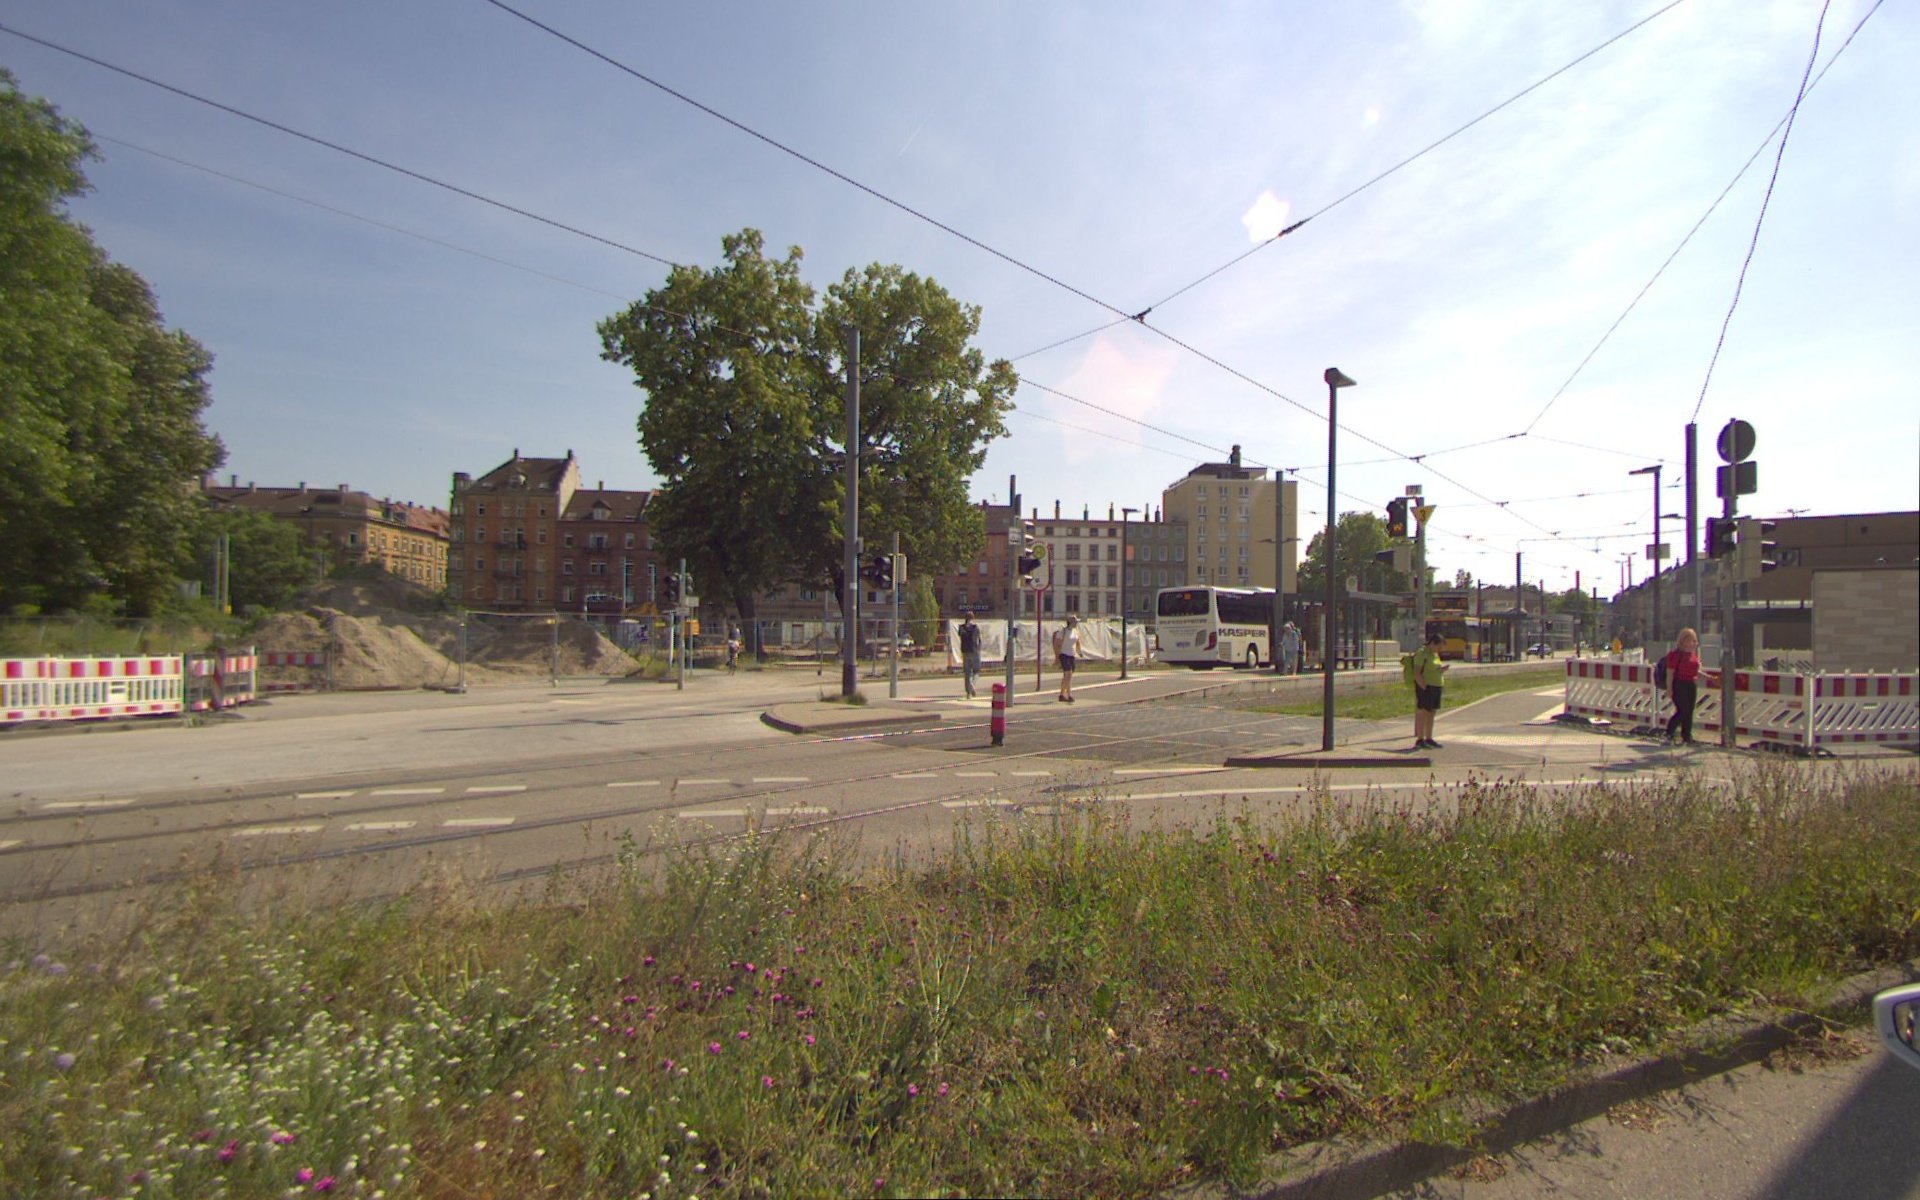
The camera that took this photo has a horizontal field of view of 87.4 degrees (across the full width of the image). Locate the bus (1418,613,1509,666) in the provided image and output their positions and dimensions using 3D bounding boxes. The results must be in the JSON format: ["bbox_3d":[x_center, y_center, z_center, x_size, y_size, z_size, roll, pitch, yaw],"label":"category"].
[{"bbox_3d":[35.206,2.739,69.844,2.820,3.324,12.599,-1,-3,40],"label":"bus"}]

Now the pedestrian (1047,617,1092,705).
[{"bbox_3d":[2.326,1.279,21.398,0.826,1.836,0.649,0,-1,-7],"label":"pedestrian"}]

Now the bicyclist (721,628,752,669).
[{"bbox_3d":[-7.690,1.651,34.521,0.613,1.378,1.162,1,-2,-35],"label":"bicyclist"}]

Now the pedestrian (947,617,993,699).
[{"bbox_3d":[0.216,1.240,21.628,0.919,1.735,0.557,0,-1,-7],"label":"pedestrian"}]

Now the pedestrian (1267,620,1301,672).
[{"bbox_3d":[10.323,1.448,31.994,0.655,1.637,0.787,0,-1,-31],"label":"pedestrian"}]

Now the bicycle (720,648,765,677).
[{"bbox_3d":[-7.420,2.103,34.204,0.755,0.935,2.050,2,-2,-35],"label":"bicycle"}]

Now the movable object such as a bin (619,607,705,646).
[{"bbox_3d":[-23.952,2.178,80.702,6.453,3.049,2.572,1,-2,-20],"label":"movable object such as a bin"}]

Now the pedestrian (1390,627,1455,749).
[{"bbox_3d":[6.221,1.158,13.517,0.420,1.564,0.659,0,2,-42],"label":"pedestrian"}]

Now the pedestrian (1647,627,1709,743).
[{"bbox_3d":[10.279,1.206,14.387,0.674,1.637,0.350,1,-2,-14],"label":"pedestrian"}]

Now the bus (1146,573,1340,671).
[{"bbox_3d":[12.149,1.004,41.793,2.820,3.535,12.598,-1,-3,40],"label":"bus"}]

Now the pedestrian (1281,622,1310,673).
[{"bbox_3d":[10.997,1.553,32.934,0.578,1.637,0.685,0,-1,-27],"label":"pedestrian"}]
